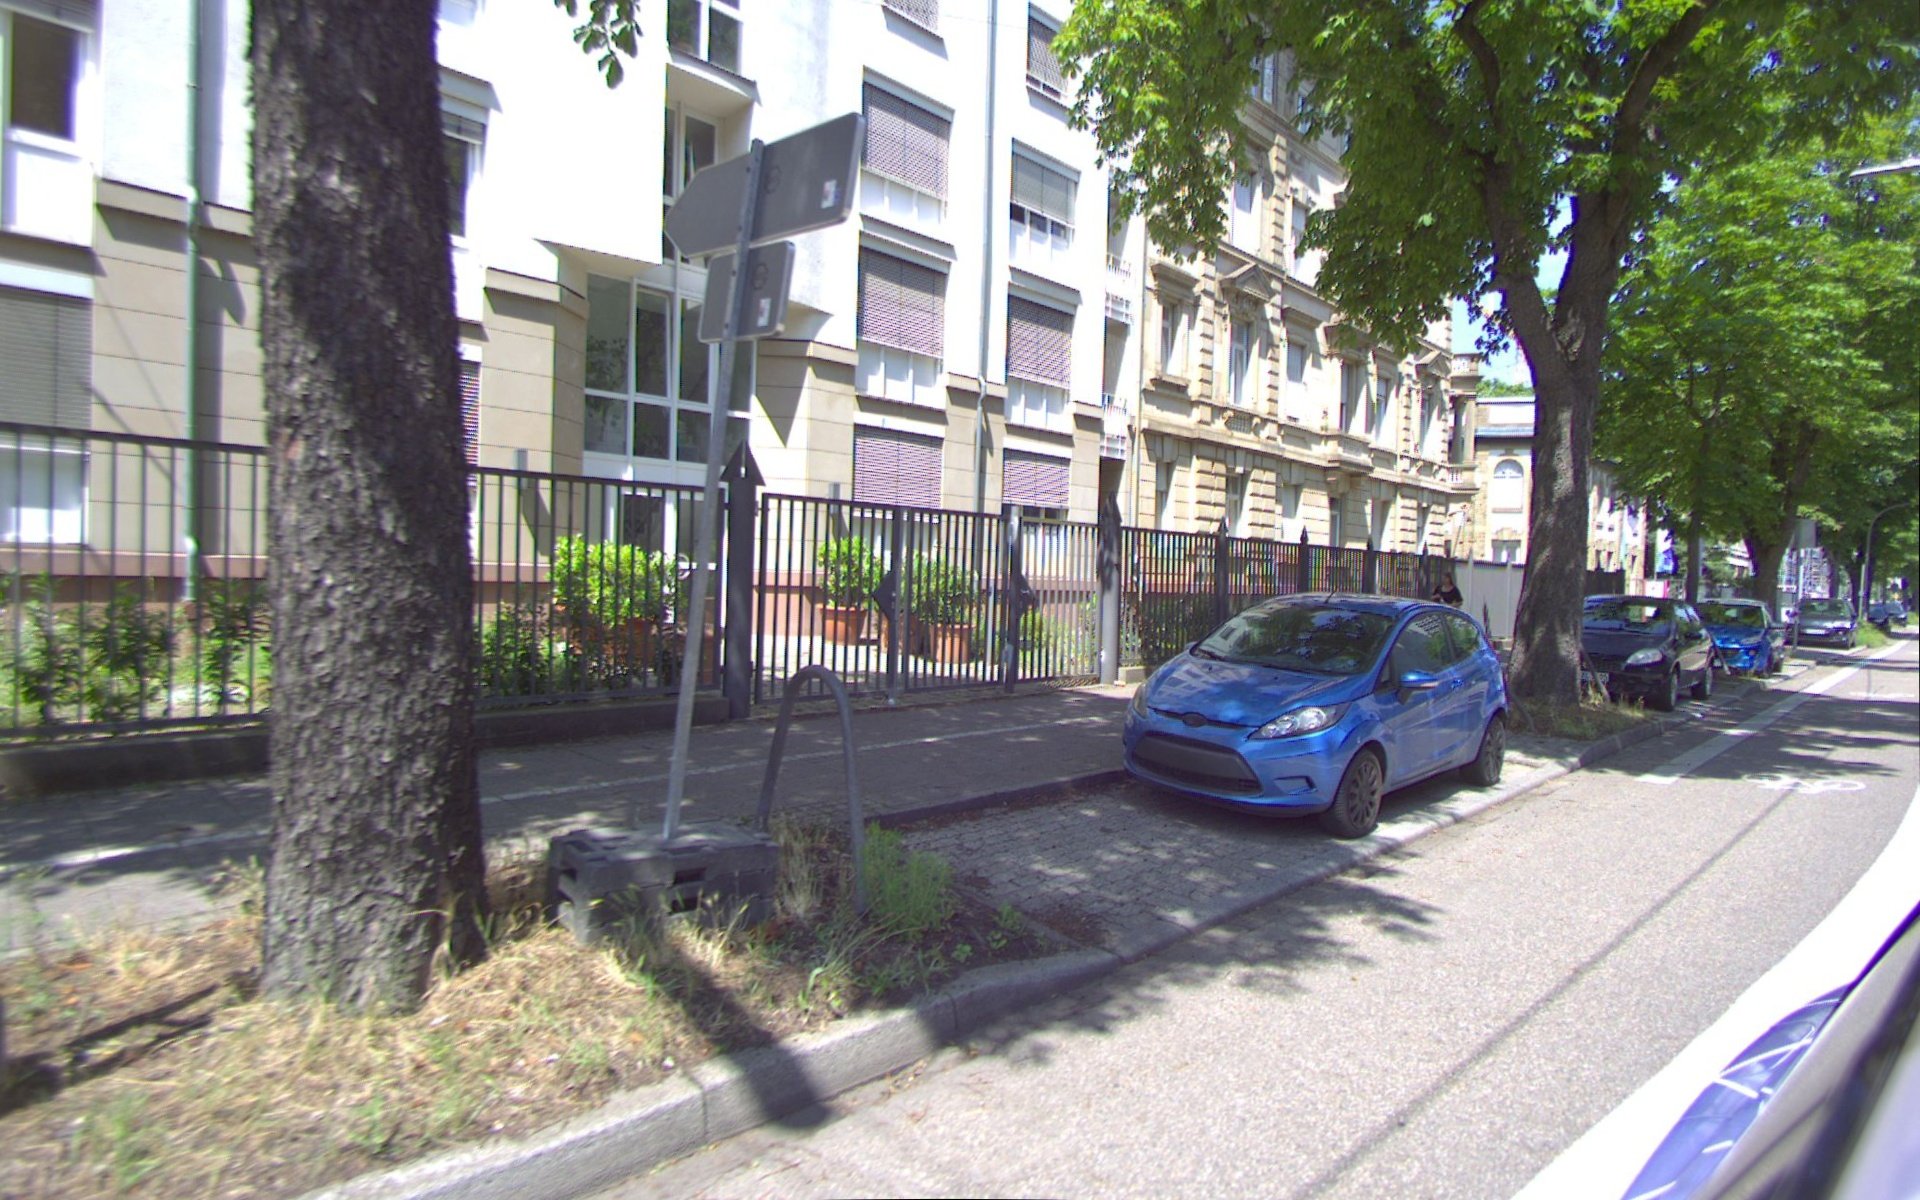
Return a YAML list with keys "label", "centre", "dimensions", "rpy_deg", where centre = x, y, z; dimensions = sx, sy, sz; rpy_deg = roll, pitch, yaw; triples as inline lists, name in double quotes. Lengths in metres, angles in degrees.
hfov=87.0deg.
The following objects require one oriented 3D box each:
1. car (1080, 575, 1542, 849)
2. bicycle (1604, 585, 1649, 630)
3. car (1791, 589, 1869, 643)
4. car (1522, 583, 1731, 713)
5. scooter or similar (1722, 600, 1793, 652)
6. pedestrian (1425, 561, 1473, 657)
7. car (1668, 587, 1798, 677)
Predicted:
- label: "car"
  centre: [2.823, 0.582, 7.647]
  dimensions: [3.934, 1.479, 1.685]
  rpy_deg: [-1, 4, -44]
- label: "bicycle"
  centre: [19.296, 0.187, 29.280]
  dimensions: [0.687, 1.239, 2.085]
  rpy_deg: [1, 1, 45]
- label: "car"
  centre: [28.878, 0.502, 33.548]
  dimensions: [1.644, 1.616, 4.049]
  rpy_deg: [4, 2, 44]
- label: "car"
  centre: [9.581, 0.564, 14.439]
  dimensions: [3.855, 1.515, 1.679]
  rpy_deg: [-1, 4, -45]
- label: "scooter or similar"
  centre: [20.180, 0.647, 25.625]
  dimensions: [1.368, 1.247, 0.372]
  rpy_deg: [1, 1, 33]
- label: "pedestrian"
  centre: [9.019, 0.151, 18.668]
  dimensions: [0.546, 1.714, 0.743]
  rpy_deg: [2, 2, 45]
- label: "car"
  centre: [15.545, 0.561, 20.302]
  dimensions: [1.611, 1.515, 3.526]
  rpy_deg: [4, 4, 44]
